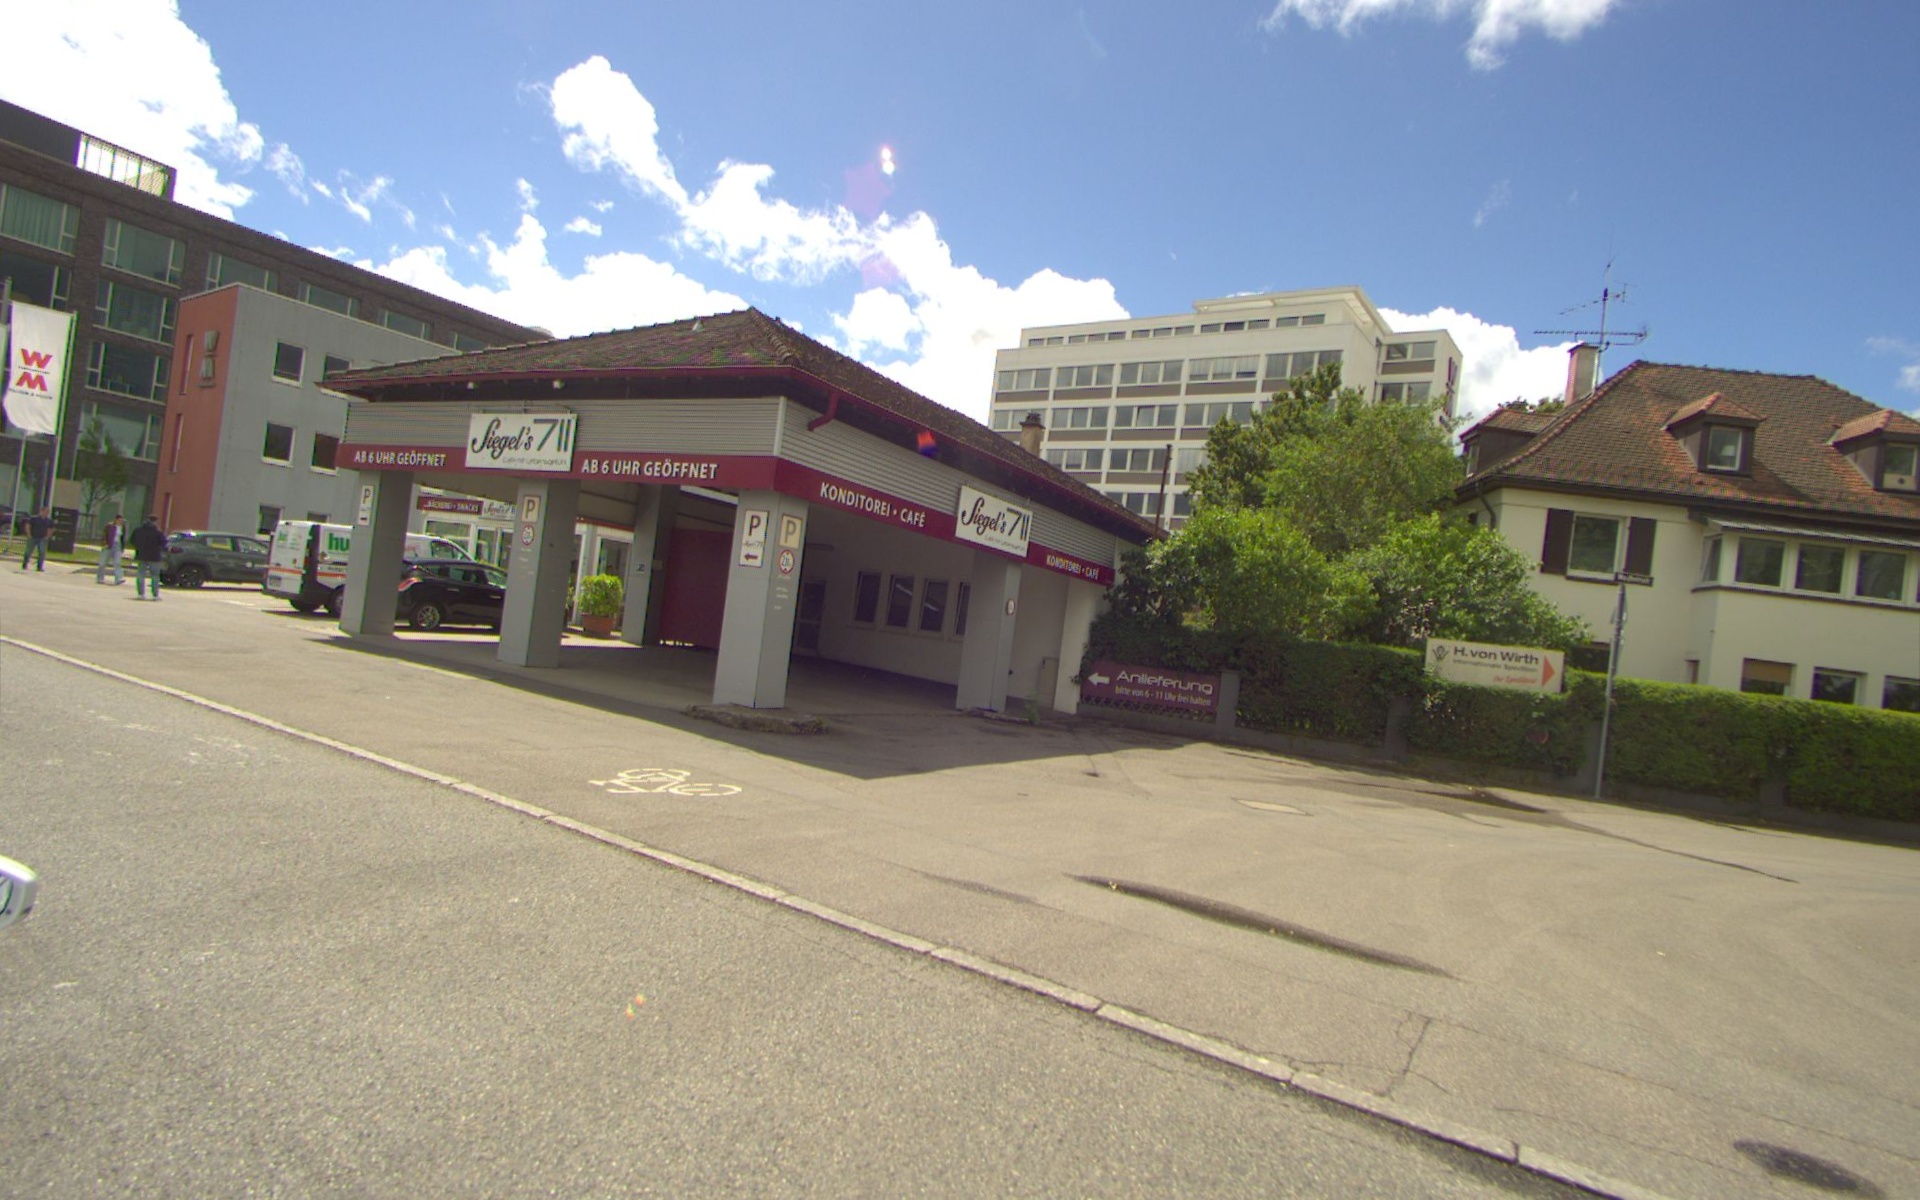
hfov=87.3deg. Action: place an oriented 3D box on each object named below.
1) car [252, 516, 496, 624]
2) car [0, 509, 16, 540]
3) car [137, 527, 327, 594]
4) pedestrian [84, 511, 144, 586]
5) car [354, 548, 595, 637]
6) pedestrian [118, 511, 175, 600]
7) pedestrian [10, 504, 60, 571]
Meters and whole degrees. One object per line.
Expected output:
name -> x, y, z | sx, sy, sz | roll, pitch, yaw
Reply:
car -> -13.156, -0.613, 22.840 | 1.996, 1.961, 4.233 | 6, 1, 32
car -> -47.527, -3.867, 47.506 | 1.449, 1.448, 3.937 | 7, -2, 31
car -> -19.629, -1.029, 27.264 | 1.691, 1.459, 3.760 | 6, 2, 32
pedestrian -> -21.169, -1.277, 25.169 | 0.908, 1.716, 0.709 | 7, -1, 28
car -> -10.278, -0.099, 21.617 | 1.816, 1.532, 4.303 | 6, 0, 32
pedestrian -> -16.634, -0.901, 20.588 | 0.676, 1.716, 0.593 | 8, -1, -34
pedestrian -> -25.060, -1.701, 27.255 | 0.729, 1.681, 0.672 | 7, -1, 30
